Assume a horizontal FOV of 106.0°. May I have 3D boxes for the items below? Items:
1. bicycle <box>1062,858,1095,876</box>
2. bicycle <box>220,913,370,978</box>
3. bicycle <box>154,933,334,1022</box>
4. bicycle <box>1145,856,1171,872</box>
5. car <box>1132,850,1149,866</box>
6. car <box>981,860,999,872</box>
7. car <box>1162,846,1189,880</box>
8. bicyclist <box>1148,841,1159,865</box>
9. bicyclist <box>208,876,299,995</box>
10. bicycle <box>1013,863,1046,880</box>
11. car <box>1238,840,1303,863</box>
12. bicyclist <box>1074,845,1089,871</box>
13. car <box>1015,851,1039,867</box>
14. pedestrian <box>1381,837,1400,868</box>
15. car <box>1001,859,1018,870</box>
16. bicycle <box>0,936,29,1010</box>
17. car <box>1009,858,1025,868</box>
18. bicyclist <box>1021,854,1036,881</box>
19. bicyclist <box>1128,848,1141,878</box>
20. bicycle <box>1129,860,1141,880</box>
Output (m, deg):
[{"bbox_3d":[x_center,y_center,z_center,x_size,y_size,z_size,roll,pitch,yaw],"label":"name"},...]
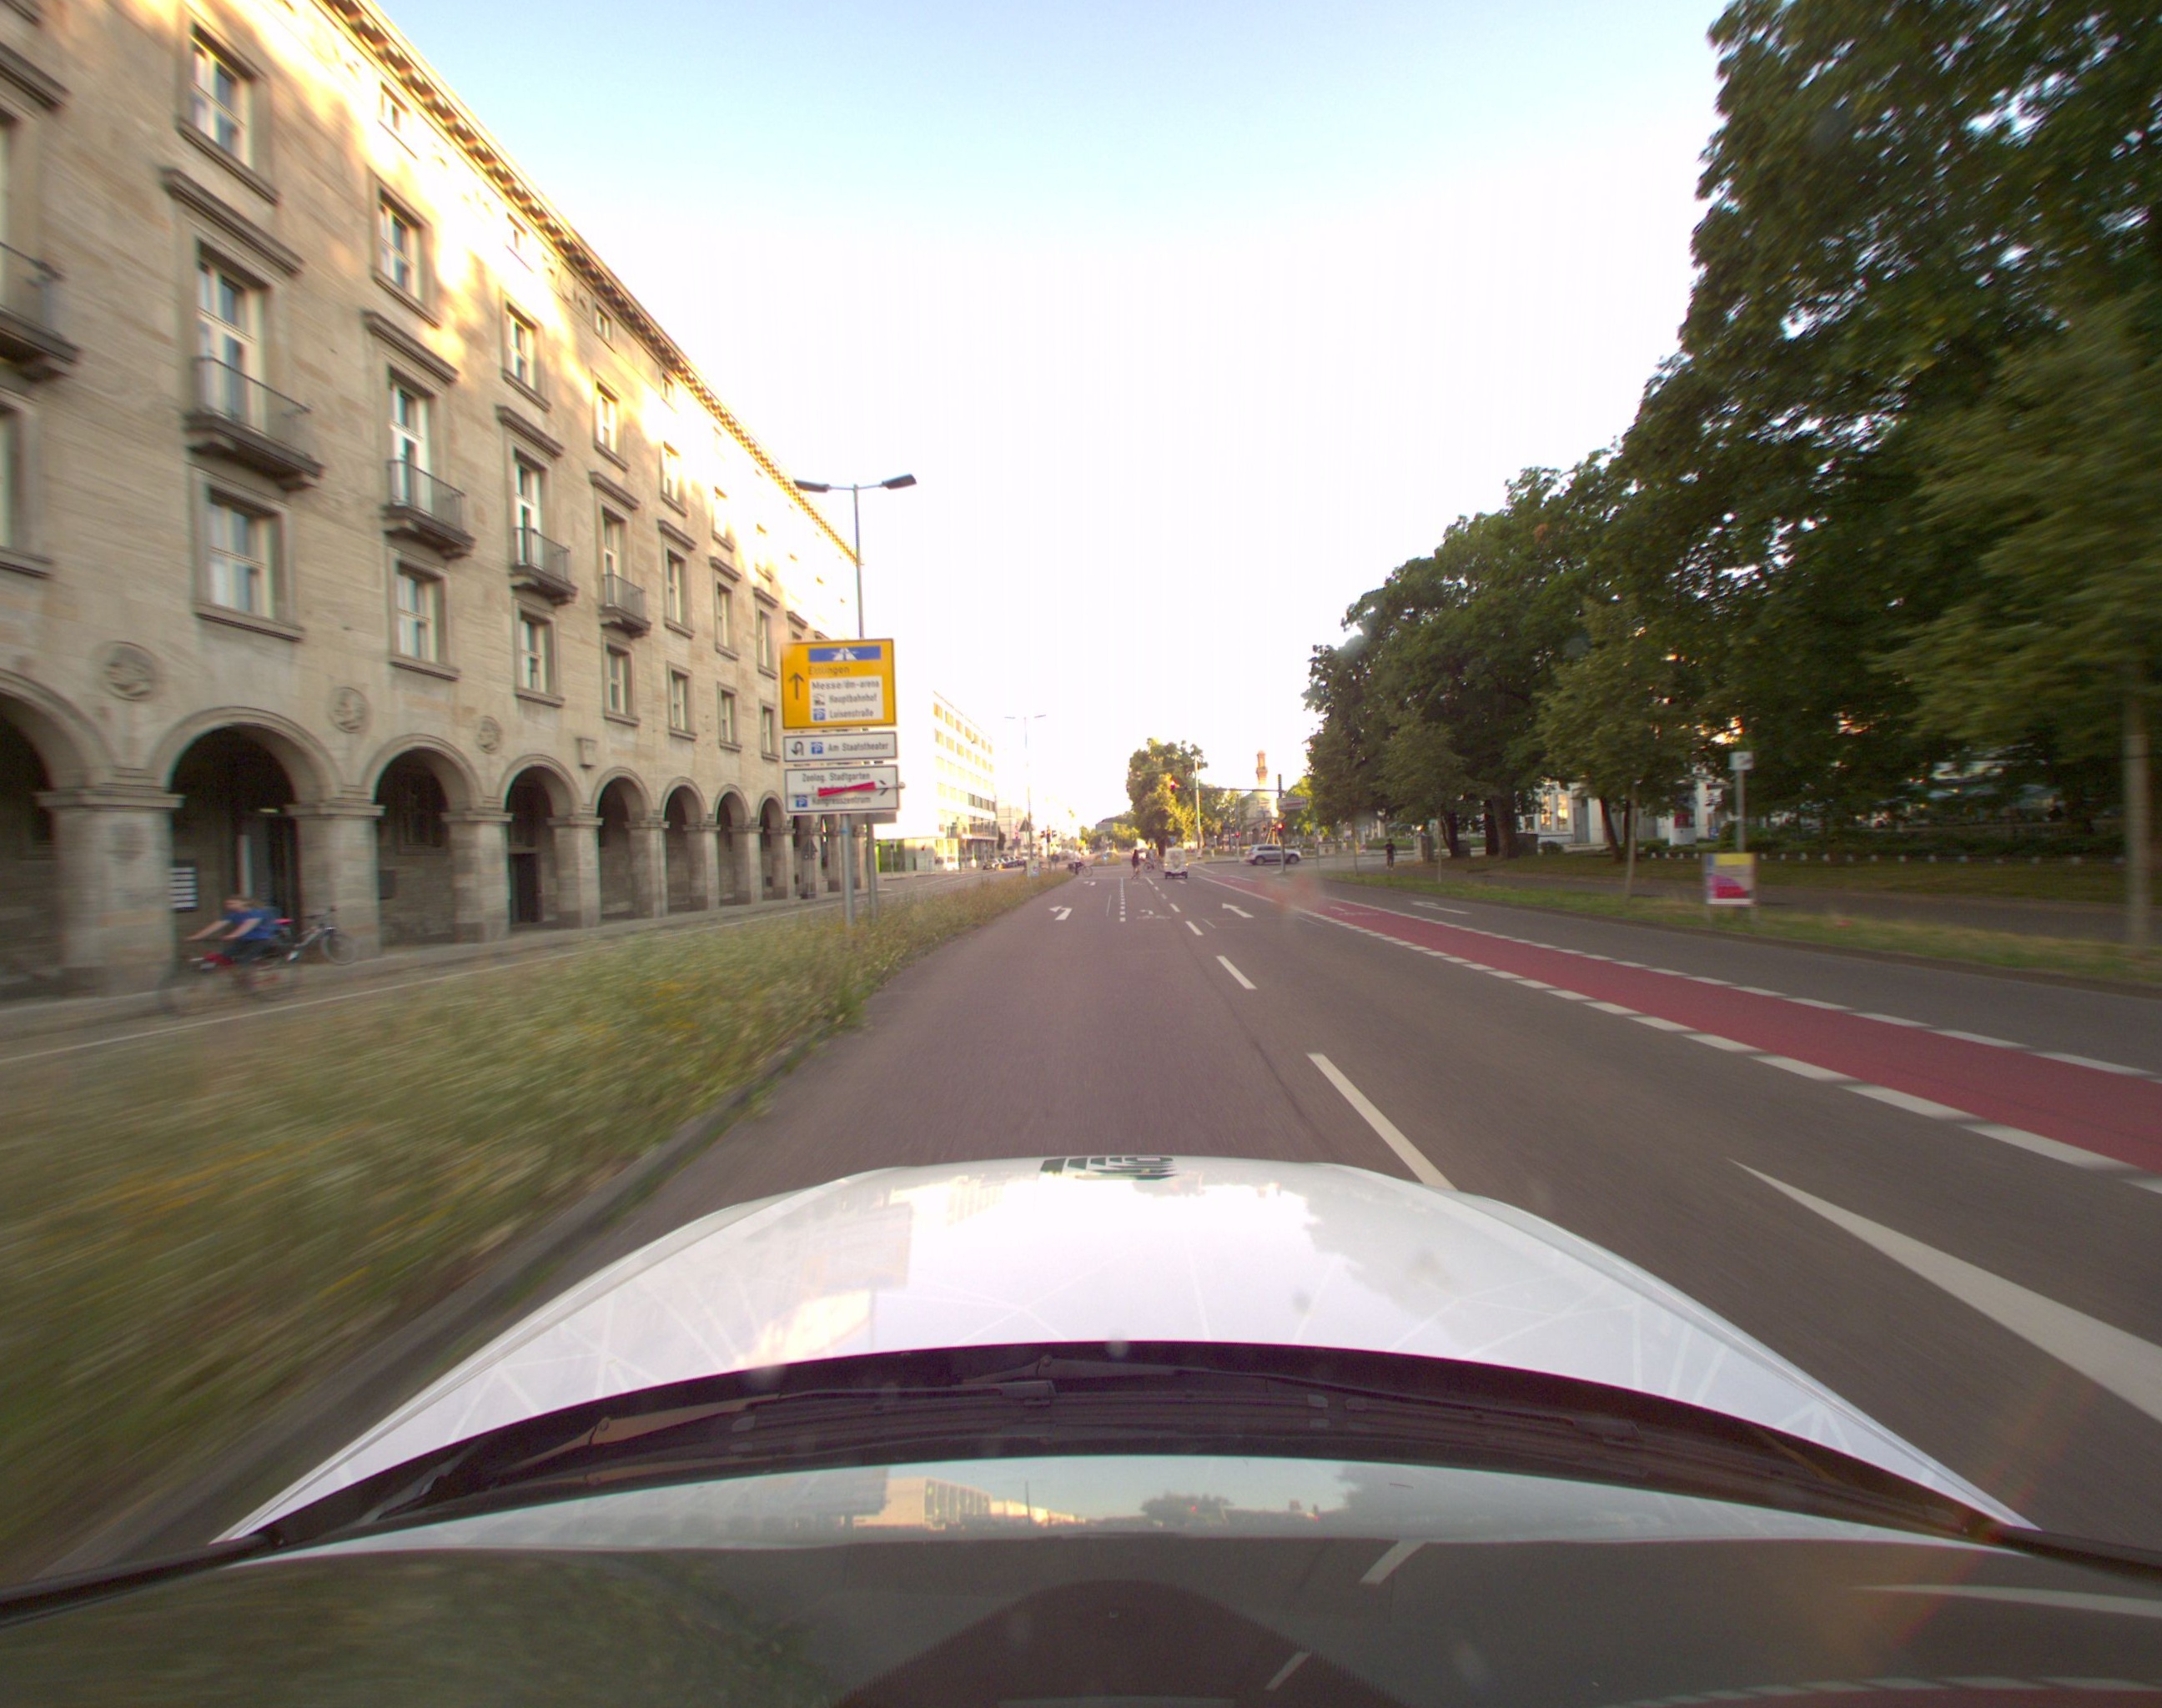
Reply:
[{"bbox_3d":[-0.148,0.870,53.616,2.045,1.069,0.789,-3,0,9],"label":"bicycle"},{"bbox_3d":[-15.194,1.737,15.807,0.472,1.005,2.018,-3,0,38],"label":"bicycle"},{"bbox_3d":[-12.487,1.807,12.259,0.539,1.005,2.006,-3,0,2],"label":"bicycle"},{"bbox_3d":[5.627,0.739,59.494,1.887,1.069,0.732,-2,-1,5],"label":"bicycle"},{"bbox_3d":[7.812,0.479,107.642,1.986,2.013,4.002,-3,0,2],"label":"car"},{"bbox_3d":[-12.003,1.612,107.475,1.789,1.475,4.001,-3,-2,2],"label":"car"},{"bbox_3d":[5.419,0.497,46.891,1.452,1.780,2.568,-2,1,5],"label":"car"},{"bbox_3d":[5.321,-0.063,59.525,0.742,1.693,0.716,-3,0,5],"label":"bicyclist"},{"bbox_3d":[-12.506,1.207,12.332,0.534,1.693,0.749,-3,0,3],"label":"bicyclist"},{"bbox_3d":[-3.260,1.108,51.867,2.007,1.069,0.731,-2,-1,2],"label":"bicycle"},{"bbox_3d":[14.955,-0.190,64.316,4.527,1.648,1.996,-3,0,-6],"label":"car"},{"bbox_3d":[0.036,0.257,53.609,0.741,1.693,0.767,-3,0,9],"label":"bicyclist"},{"bbox_3d":[-9.039,0.890,136.843,2.161,2.385,6.011,-3,-2,14],"label":"car"},{"bbox_3d":[16.910,-0.083,44.458,0.692,1.693,0.749,-3,0,1],"label":"pedestrian"},{"bbox_3d":[-10.845,1.611,123.892,1.787,1.475,4.006,-3,-2,6],"label":"car"},{"bbox_3d":[-15.634,1.701,10.777,0.473,1.005,2.016,-3,0,21],"label":"bicycle"},{"bbox_3d":[-10.220,1.446,130.280,1.787,1.475,4.006,-3,-2,6],"label":"car"},{"bbox_3d":[-3.344,0.834,51.860,0.743,1.693,0.716,-3,0,3],"label":"bicyclist"},{"bbox_3d":[3.096,0.506,47.236,0.626,1.693,0.749,-3,0,2],"label":"bicyclist"},{"bbox_3d":[3.138,0.927,47.549,0.635,1.069,2.070,-2,0,3],"label":"bicycle"}]
